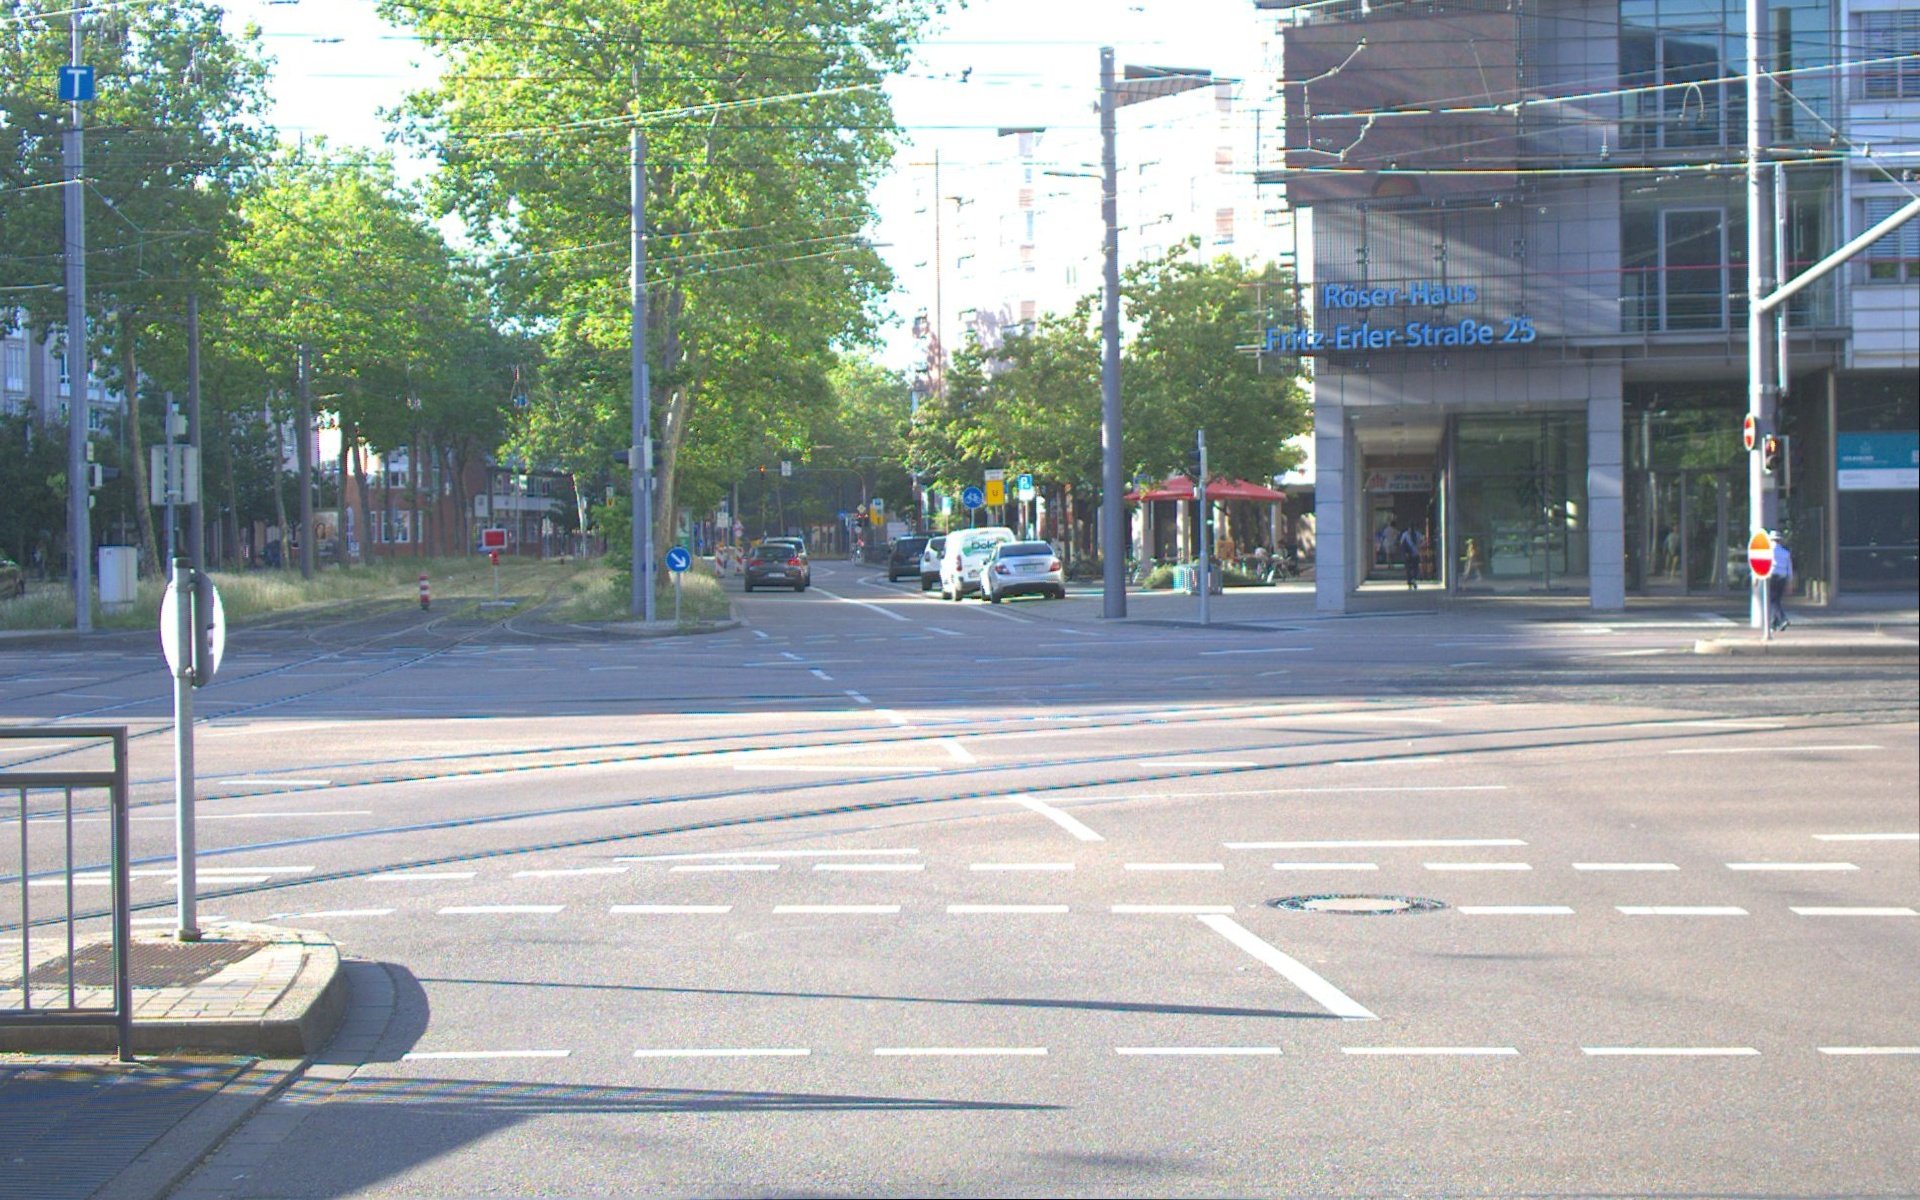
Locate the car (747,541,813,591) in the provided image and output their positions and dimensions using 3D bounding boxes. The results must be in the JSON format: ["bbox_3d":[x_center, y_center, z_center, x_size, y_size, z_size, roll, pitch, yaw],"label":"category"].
[{"bbox_3d":[-5.381,-1.031,103.075,1.797,1.437,4.000,-1,1,-1],"label":"car"}]

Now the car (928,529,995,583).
[{"bbox_3d":[0.037,-1.357,105.225,1.993,1.612,4.000,-1,1,0],"label":"car"}]

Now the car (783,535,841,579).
[{"bbox_3d":[-4.954,-1.452,115.683,1.797,1.437,4.000,-1,1,-1],"label":"car"}]

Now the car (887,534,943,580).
[{"bbox_3d":[-1.641,-1.595,126.675,1.993,1.612,4.000,-1,1,0],"label":"car"}]

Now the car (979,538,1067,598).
[{"bbox_3d":[1.493,-0.784,82.784,1.993,1.371,4.000,-1,1,-1],"label":"car"}]

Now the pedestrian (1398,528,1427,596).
[{"bbox_3d":[10.120,-0.848,76.875,0.612,1.502,0.579,-1,1,7],"label":"pedestrian"}]

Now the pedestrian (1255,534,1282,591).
[{"bbox_3d":[9.435,-1.146,105.006,0.744,1.708,0.612,-1,1,-1],"label":"pedestrian"}]

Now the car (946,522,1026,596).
[{"bbox_3d":[0.649,-1.093,89.579,1.993,1.853,4.000,-1,1,-1],"label":"car"}]

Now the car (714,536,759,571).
[{"bbox_3d":[-9.543,-1.976,146.694,1.797,1.437,4.000,1,1,-2],"label":"car"}]

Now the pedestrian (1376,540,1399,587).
[{"bbox_3d":[15.412,-1.318,123.914,0.744,1.708,0.612,-1,1,-1],"label":"pedestrian"}]

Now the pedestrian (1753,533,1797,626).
[{"bbox_3d":[13.236,-0.334,55.841,0.612,1.502,0.579,-1,1,7],"label":"pedestrian"}]

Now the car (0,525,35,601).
[{"bbox_3d":[-21.665,-0.797,74.933,1.993,1.634,4.000,-1,1,-1],"label":"car"}]
